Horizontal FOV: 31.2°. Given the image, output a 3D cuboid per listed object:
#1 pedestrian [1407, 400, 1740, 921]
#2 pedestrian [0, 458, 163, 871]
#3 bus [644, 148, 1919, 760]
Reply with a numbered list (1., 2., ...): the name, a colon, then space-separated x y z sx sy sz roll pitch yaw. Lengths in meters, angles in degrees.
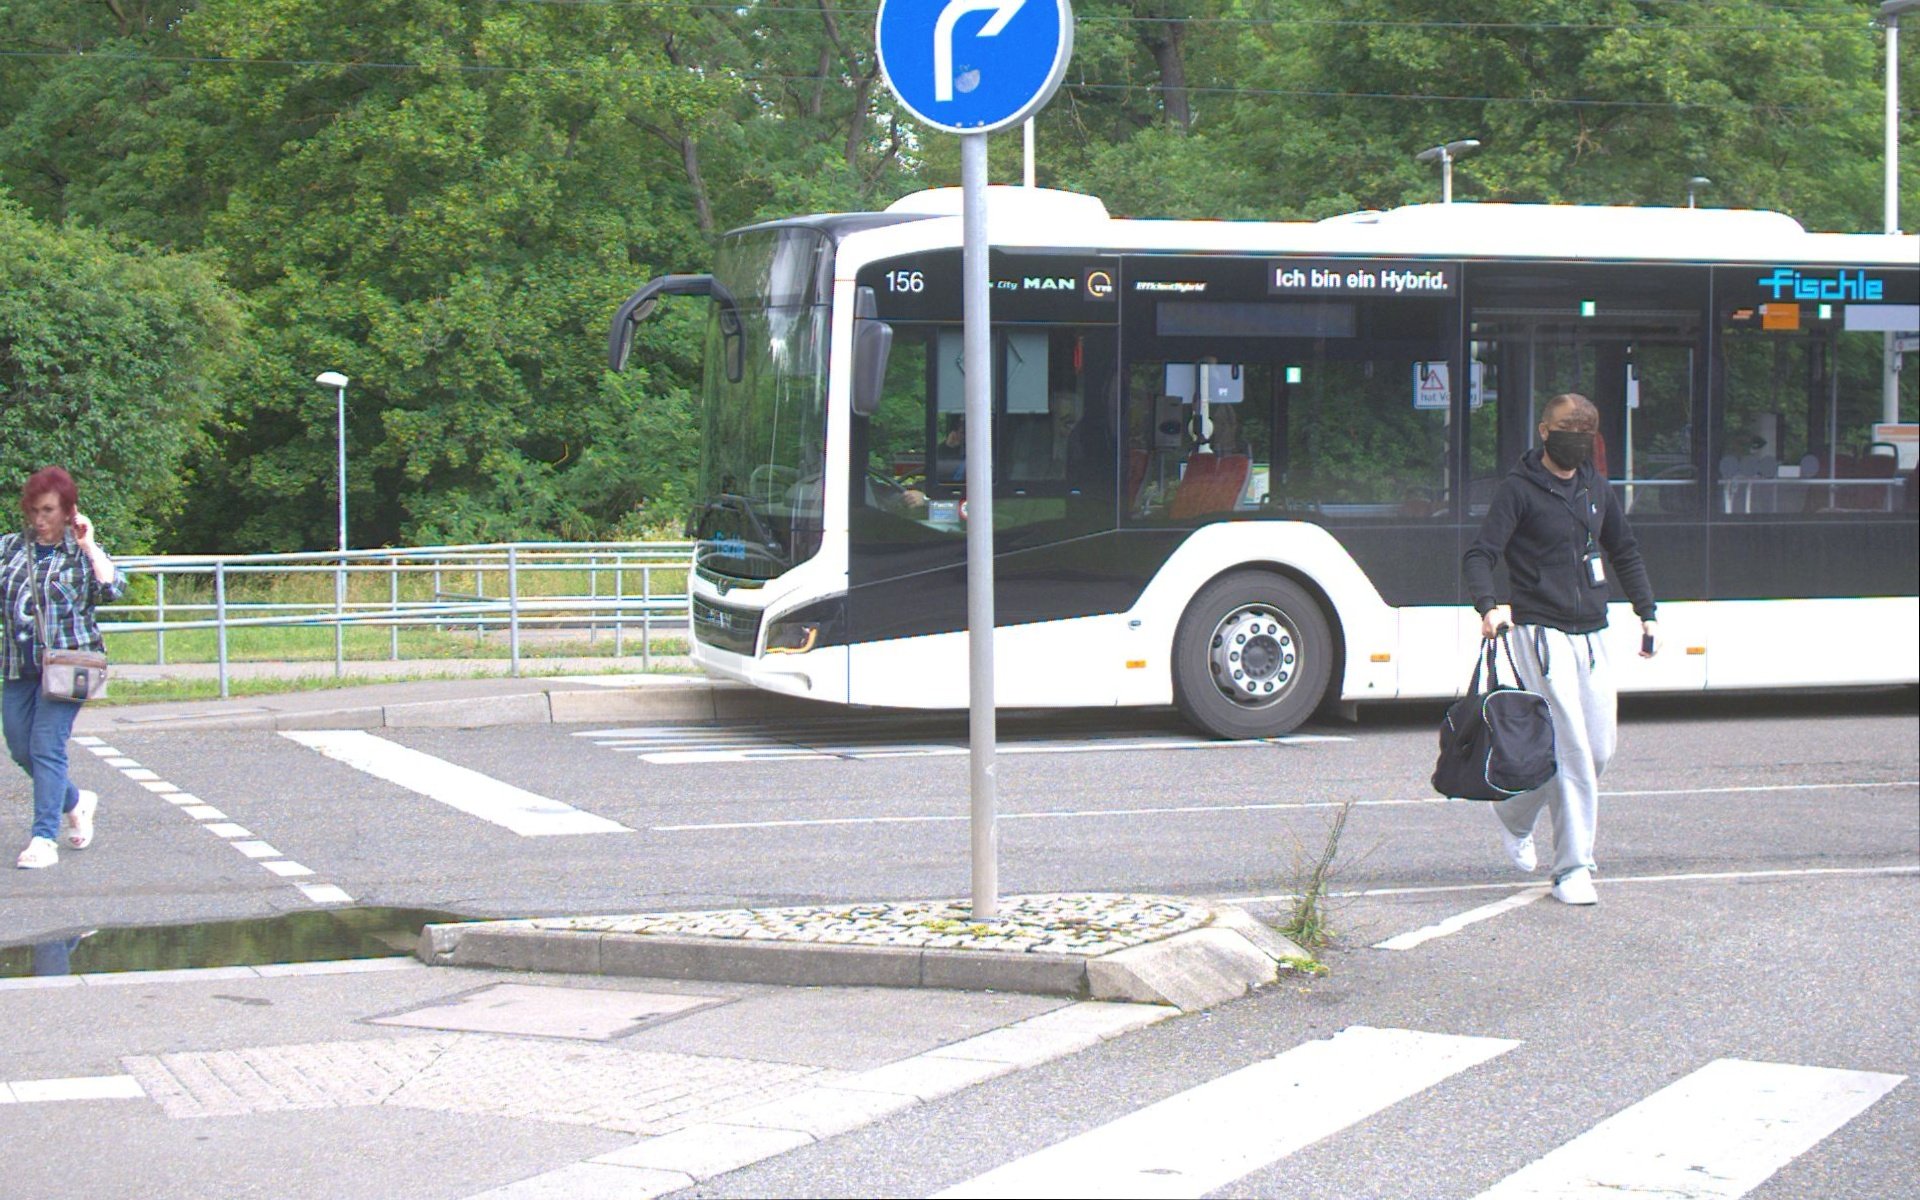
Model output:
1. pedestrian: 2.118 0.189 12.010 0.954 1.741 1.062 0 1 -1
2. pedestrian: -3.525 0.234 13.351 0.690 1.561 0.732 0 1 -1
3. bus: 4.315 -0.892 21.197 12.156 3.192 2.676 -1 2 -19
